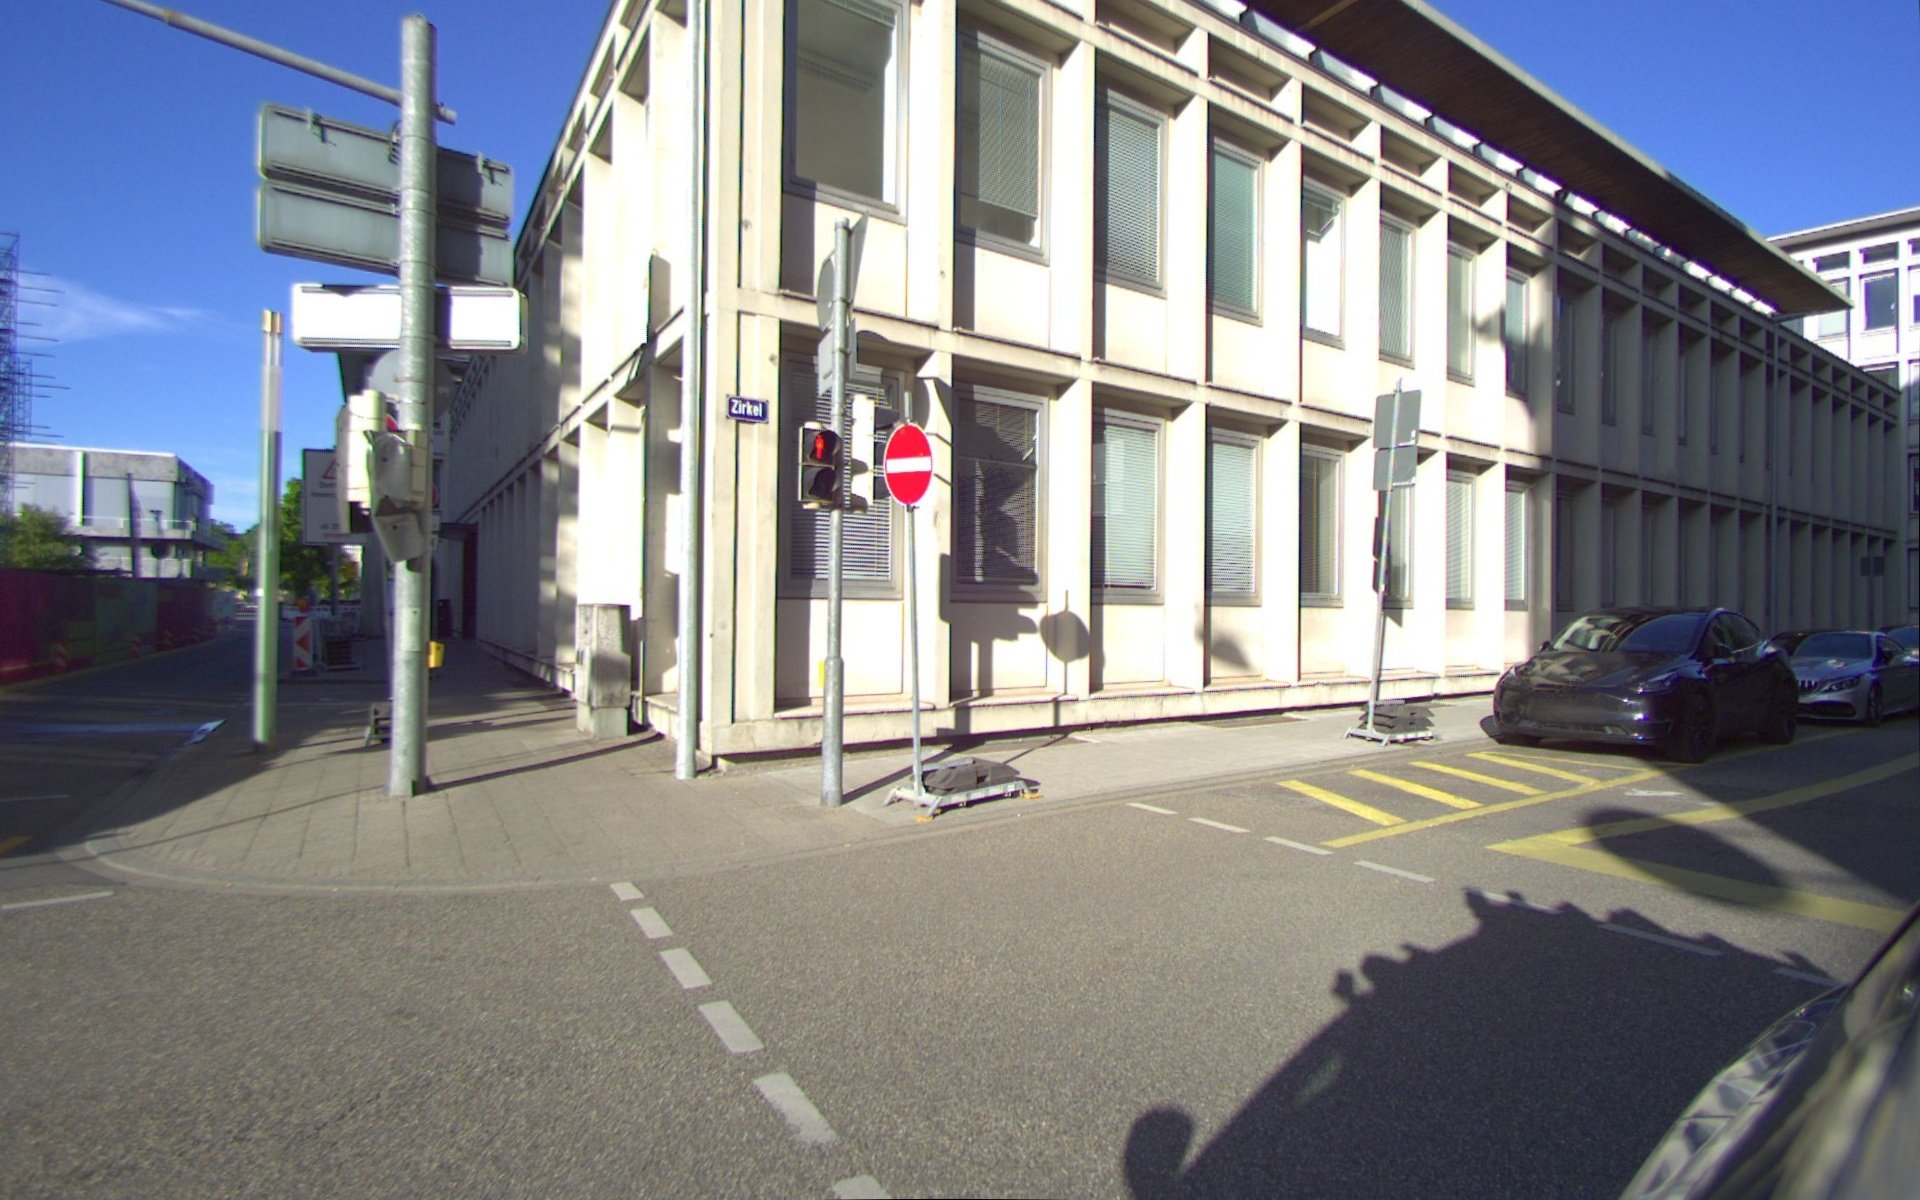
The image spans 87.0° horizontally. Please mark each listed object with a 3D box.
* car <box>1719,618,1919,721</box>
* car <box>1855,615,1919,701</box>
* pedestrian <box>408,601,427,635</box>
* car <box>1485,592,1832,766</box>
[{"bbox_3d":[13.540,0.960,15.436,4.508,1.361,1.703,1,-1,-33],"label":"car"},{"bbox_3d":[18.367,1.017,18.748,4.701,1.489,1.701,1,-1,-36],"label":"car"},{"bbox_3d":[-23.233,0.754,43.369,0.659,1.444,0.644,1,-1,-32],"label":"pedestrian"},{"bbox_3d":[8.192,0.781,11.735,4.534,1.644,1.899,1,-1,-36],"label":"car"}]
